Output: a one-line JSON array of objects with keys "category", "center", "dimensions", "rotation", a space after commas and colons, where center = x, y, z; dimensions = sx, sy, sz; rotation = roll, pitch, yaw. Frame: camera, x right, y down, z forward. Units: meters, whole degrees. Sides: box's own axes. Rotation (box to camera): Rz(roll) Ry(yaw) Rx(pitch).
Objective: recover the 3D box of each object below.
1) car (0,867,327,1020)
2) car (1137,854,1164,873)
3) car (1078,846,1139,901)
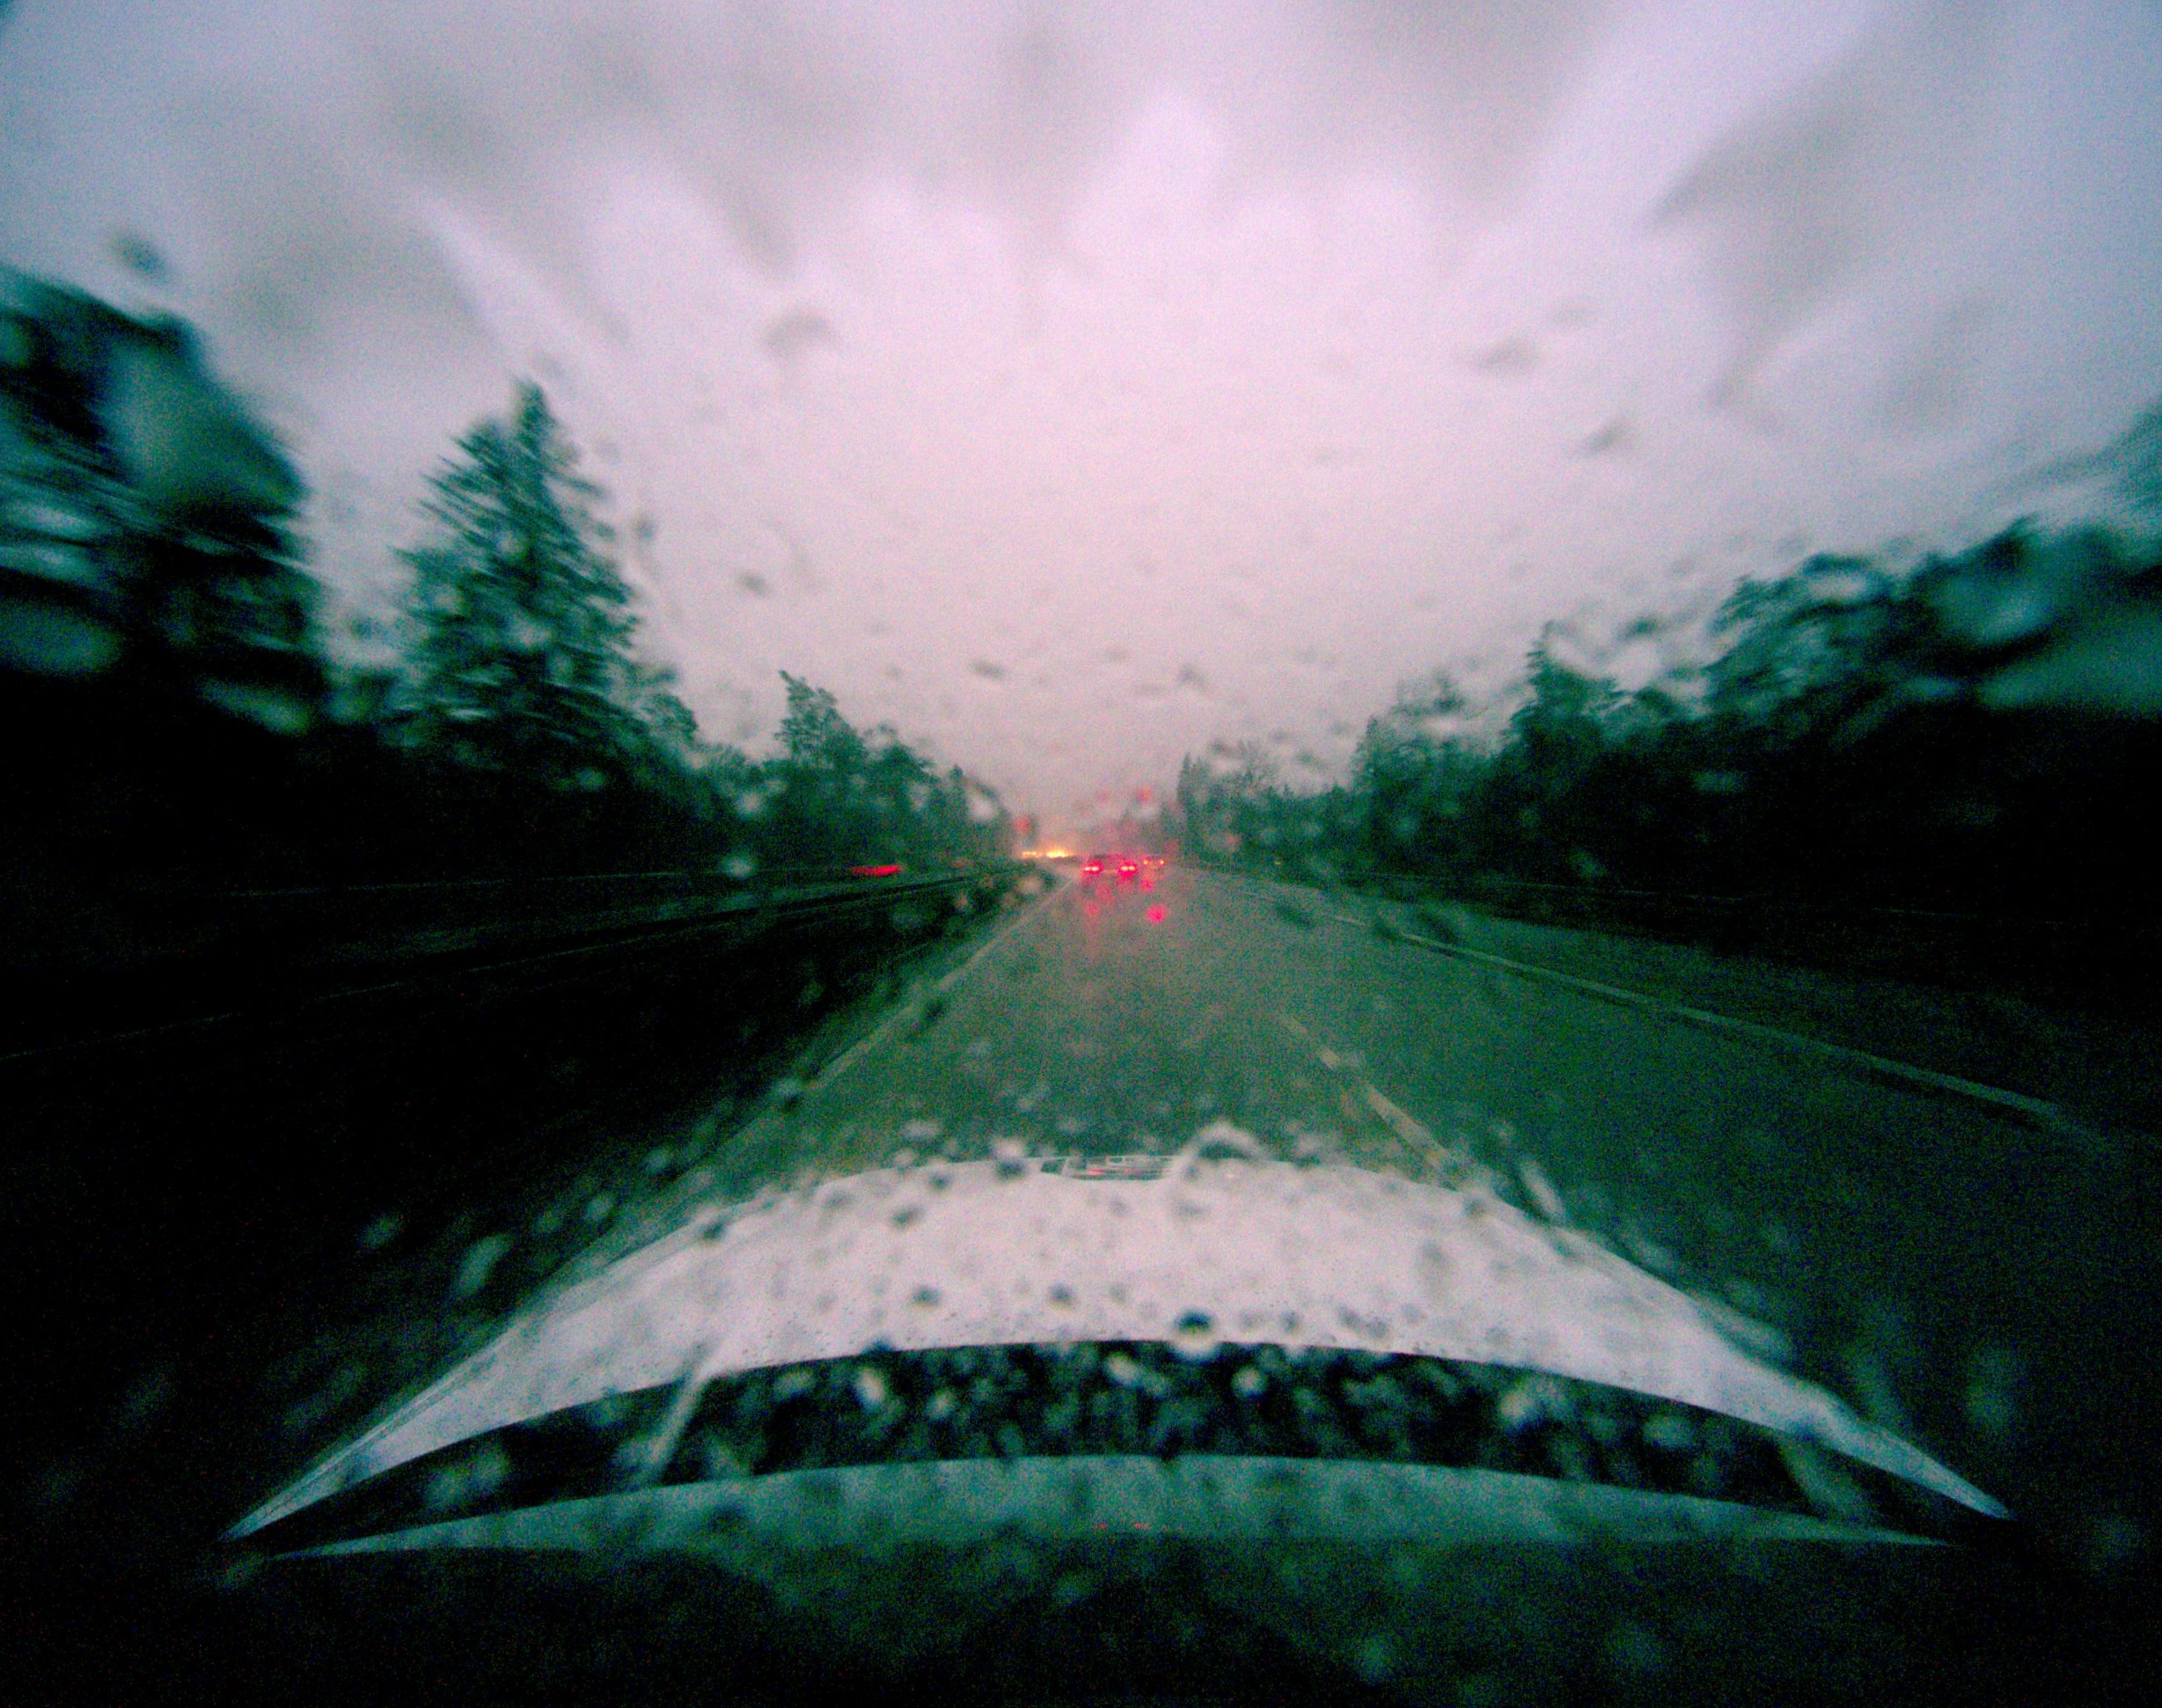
[{"category": "car", "center": [-11.009, 0.876, 8.978], "dimensions": [1.670, 1.389, 3.981], "rotation": [-1, 0, 0]}, {"category": "car", "center": [5.404, 0.762, 63.981], "dimensions": [1.775, 1.437, 3.536], "rotation": [0, 0, -1]}, {"category": "car", "center": [0.933, 0.625, 28.613], "dimensions": [1.979, 1.767, 4.174], "rotation": [0, 0, 1]}]
